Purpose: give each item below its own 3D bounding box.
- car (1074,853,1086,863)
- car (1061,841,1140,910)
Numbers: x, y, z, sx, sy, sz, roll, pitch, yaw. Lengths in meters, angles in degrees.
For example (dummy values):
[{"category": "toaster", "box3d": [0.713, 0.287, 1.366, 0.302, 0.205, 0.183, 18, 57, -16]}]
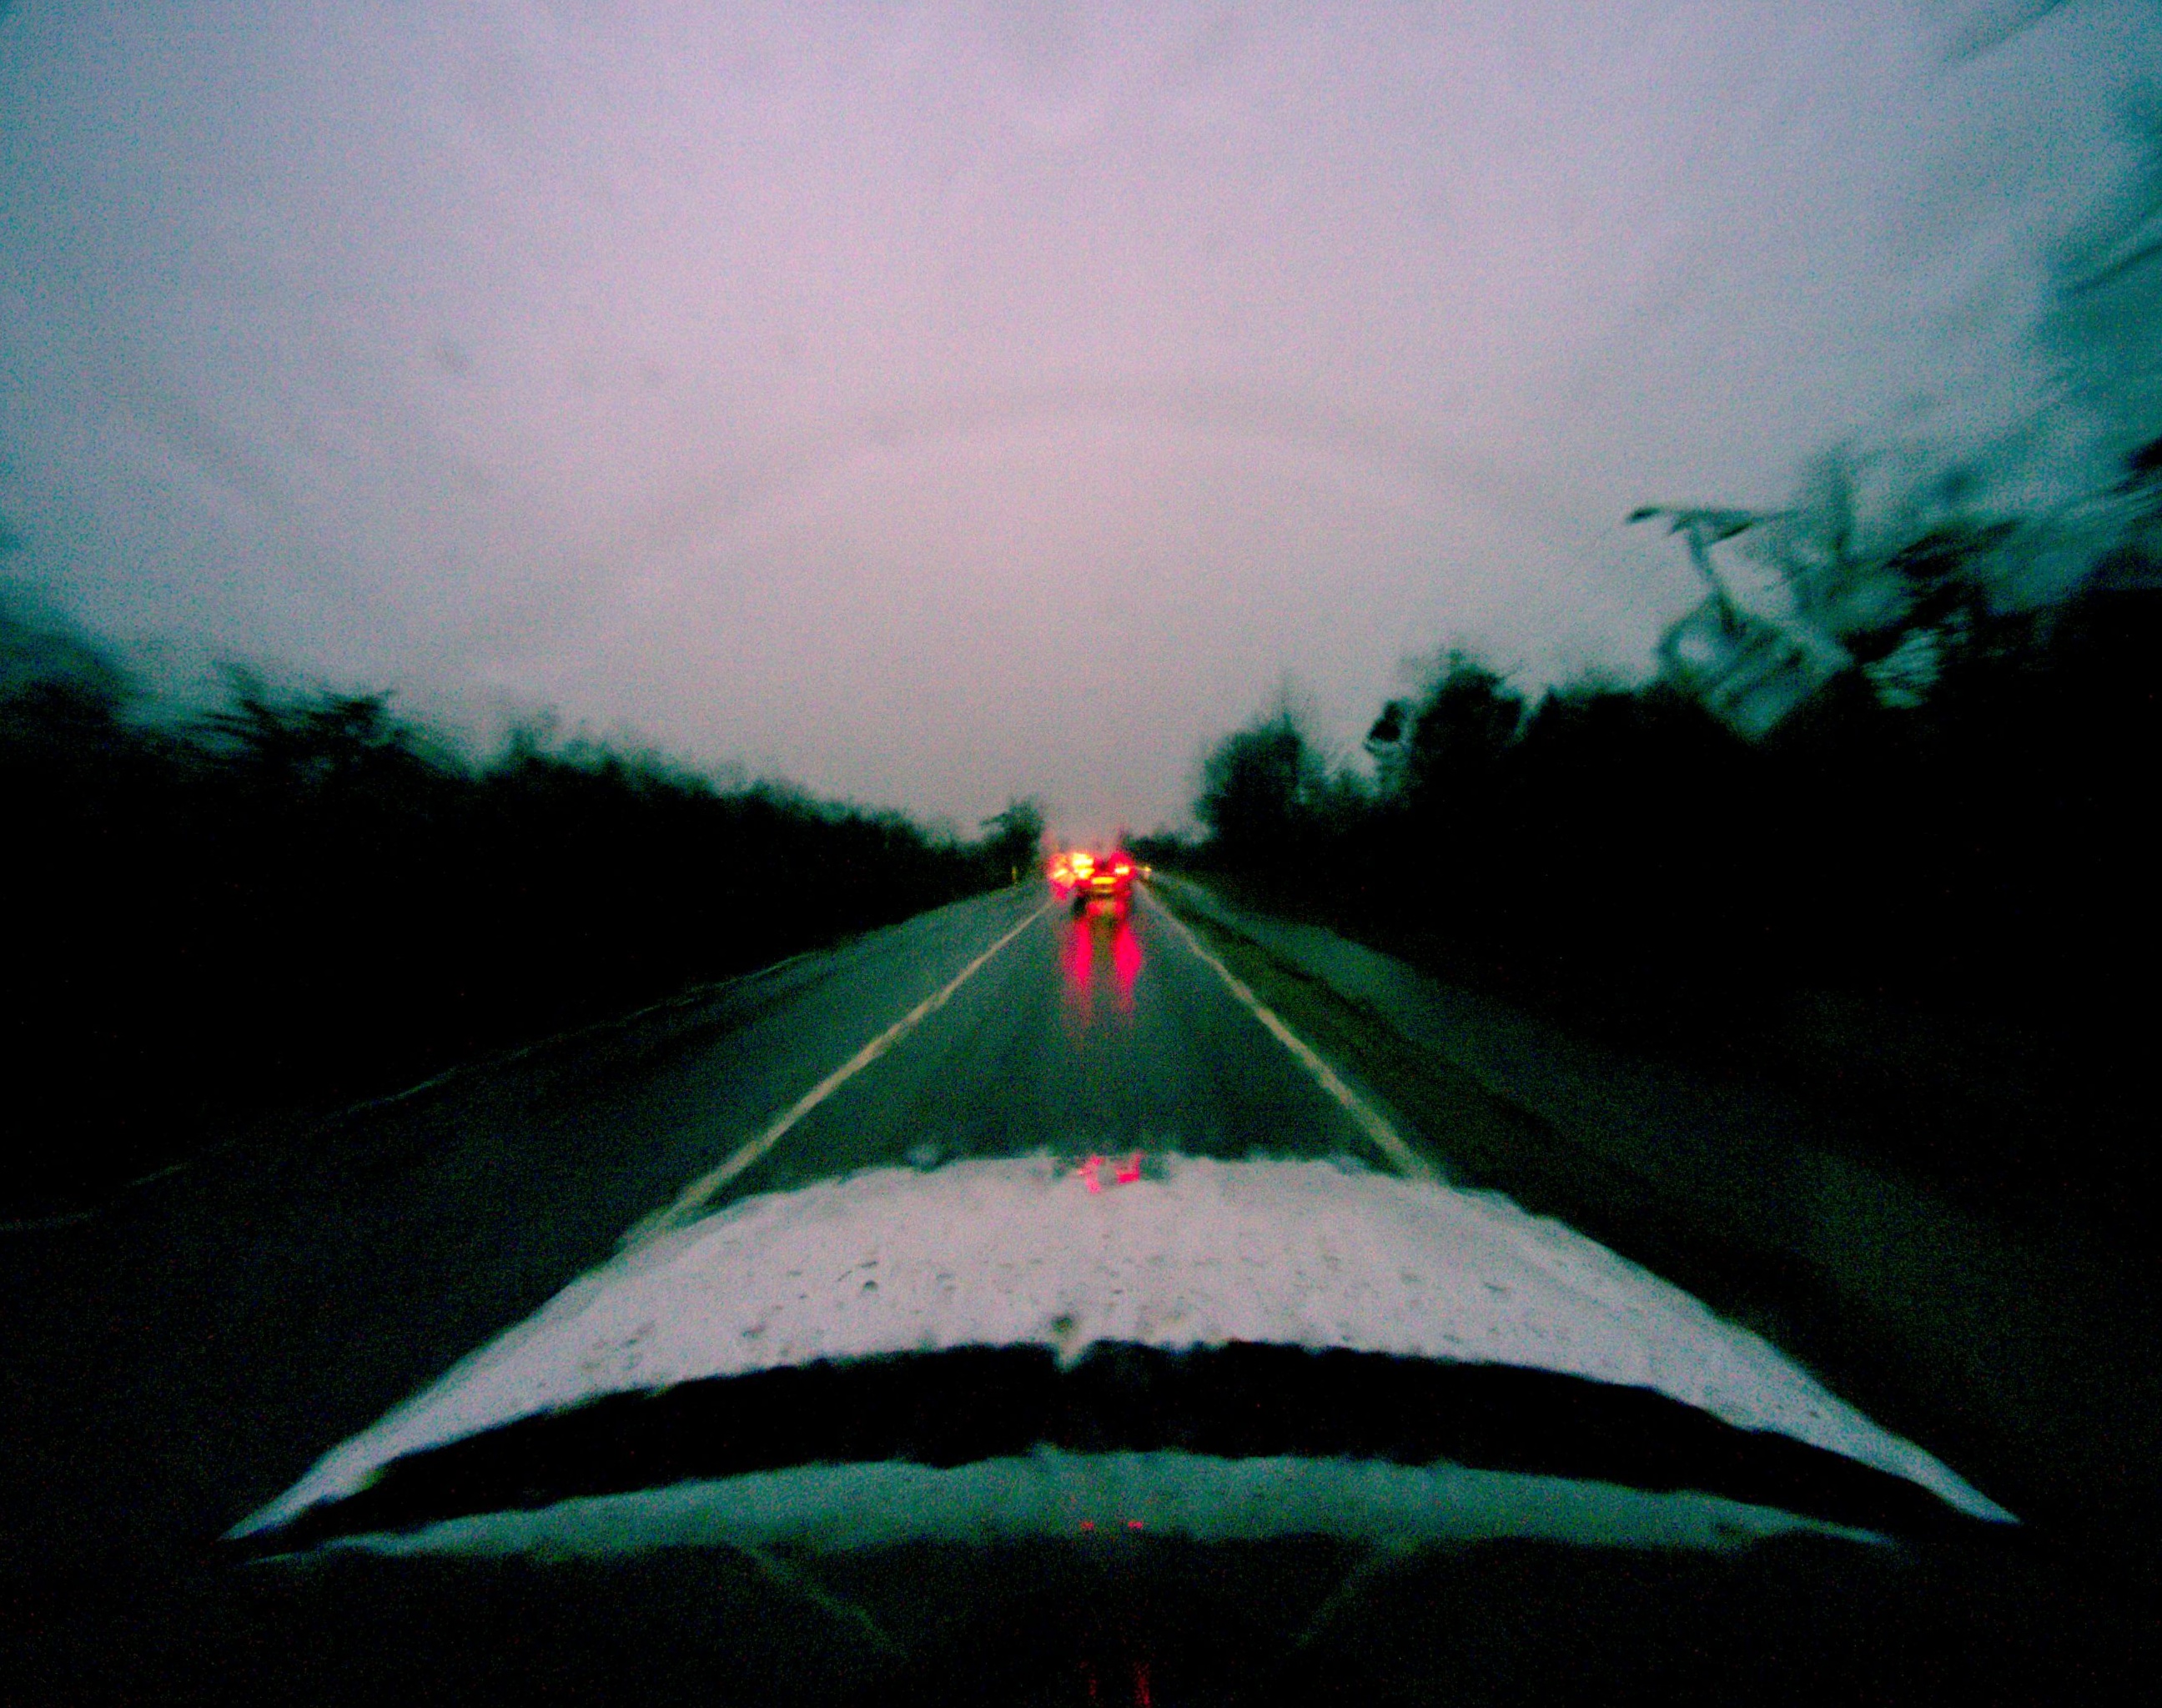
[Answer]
[{"category": "car", "box3d": [-0.143, 0.563, 122.299, 1.626, 1.457, 3.983, -4, 0, 1]}, {"category": "car", "box3d": [0.611, 0.571, 24.417, 2.112, 1.820, 4.982, -1, 0, 2]}]
